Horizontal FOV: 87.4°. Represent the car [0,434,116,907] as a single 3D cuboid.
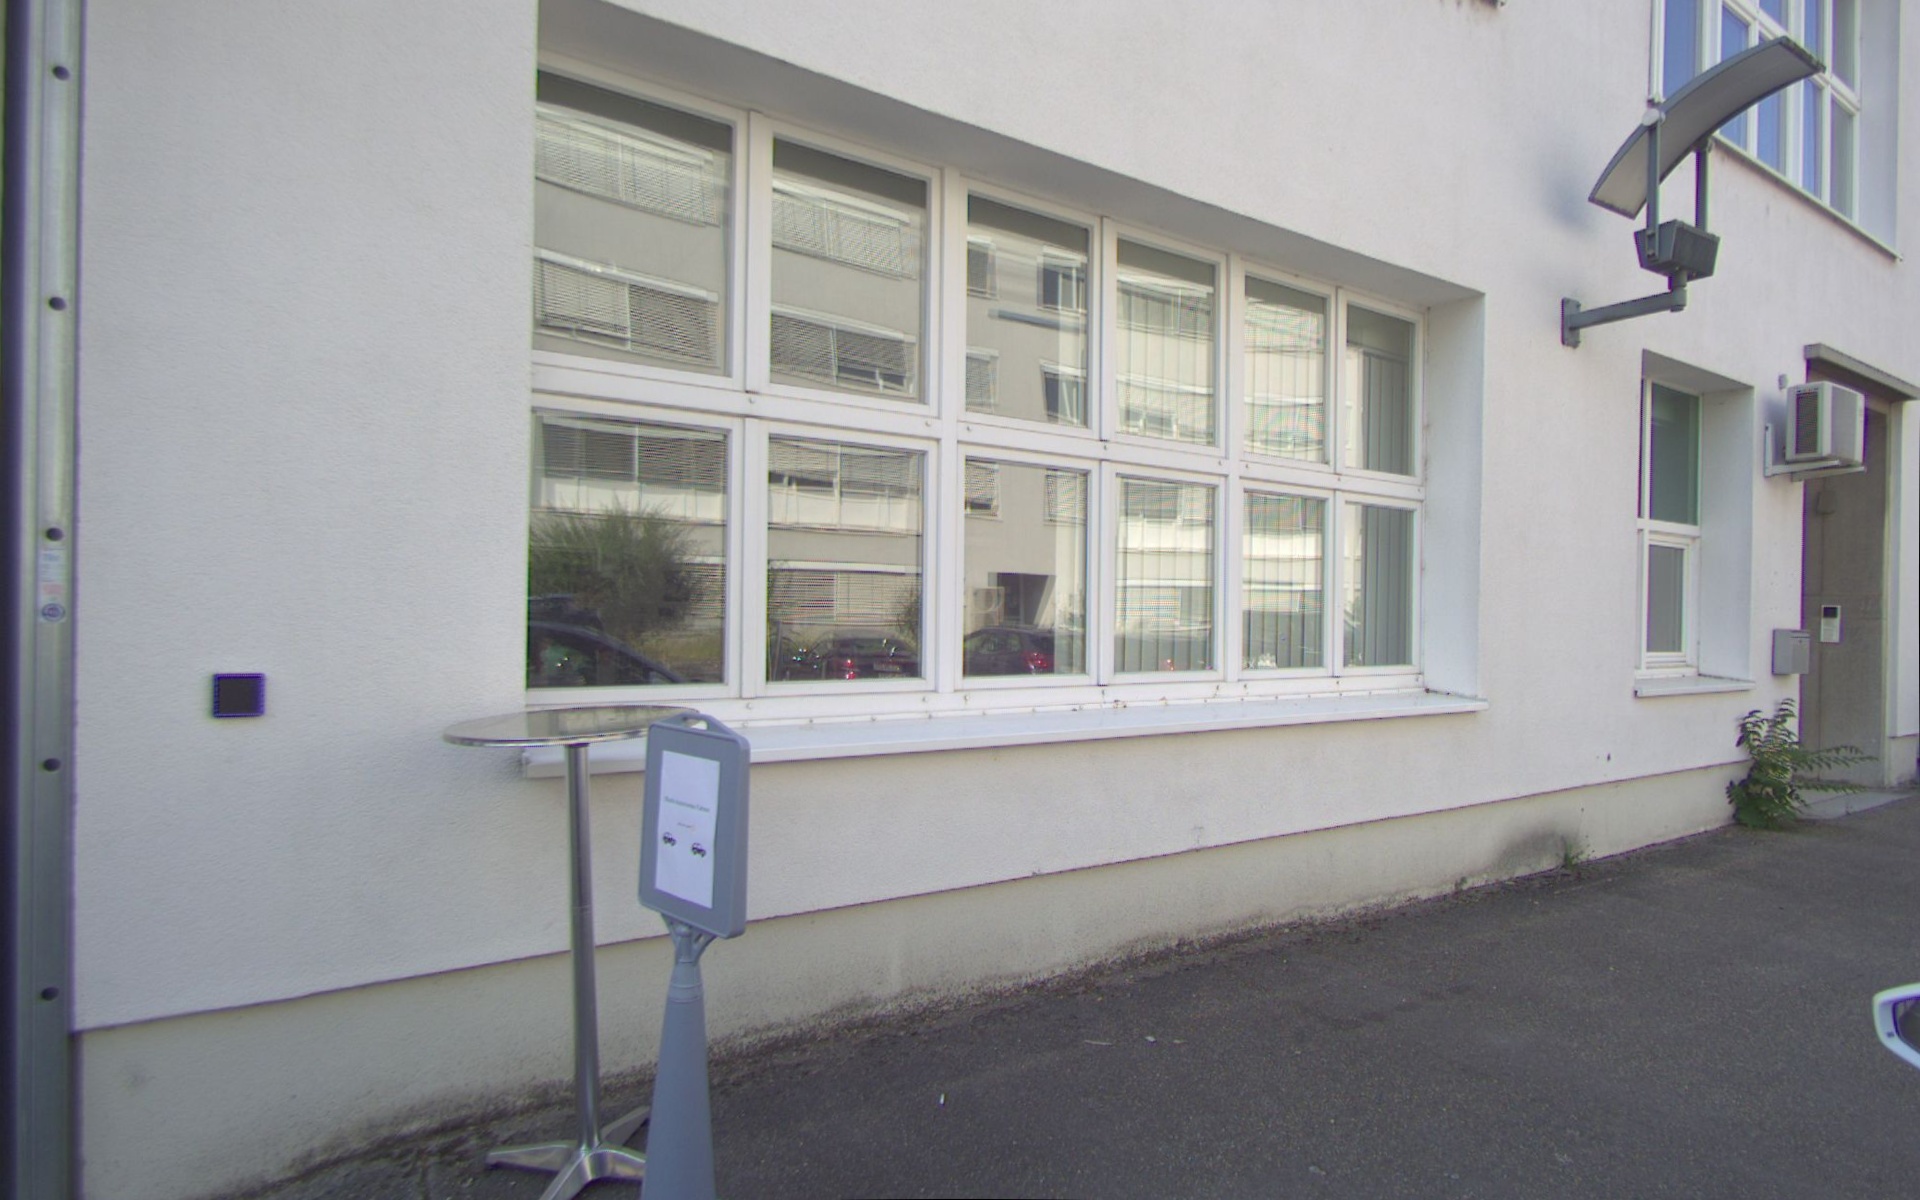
[{"bbox_3d":[-5.166,0.301,3.994,2.033,2.120,4.721,2,0,-32],"label":"car"}]
